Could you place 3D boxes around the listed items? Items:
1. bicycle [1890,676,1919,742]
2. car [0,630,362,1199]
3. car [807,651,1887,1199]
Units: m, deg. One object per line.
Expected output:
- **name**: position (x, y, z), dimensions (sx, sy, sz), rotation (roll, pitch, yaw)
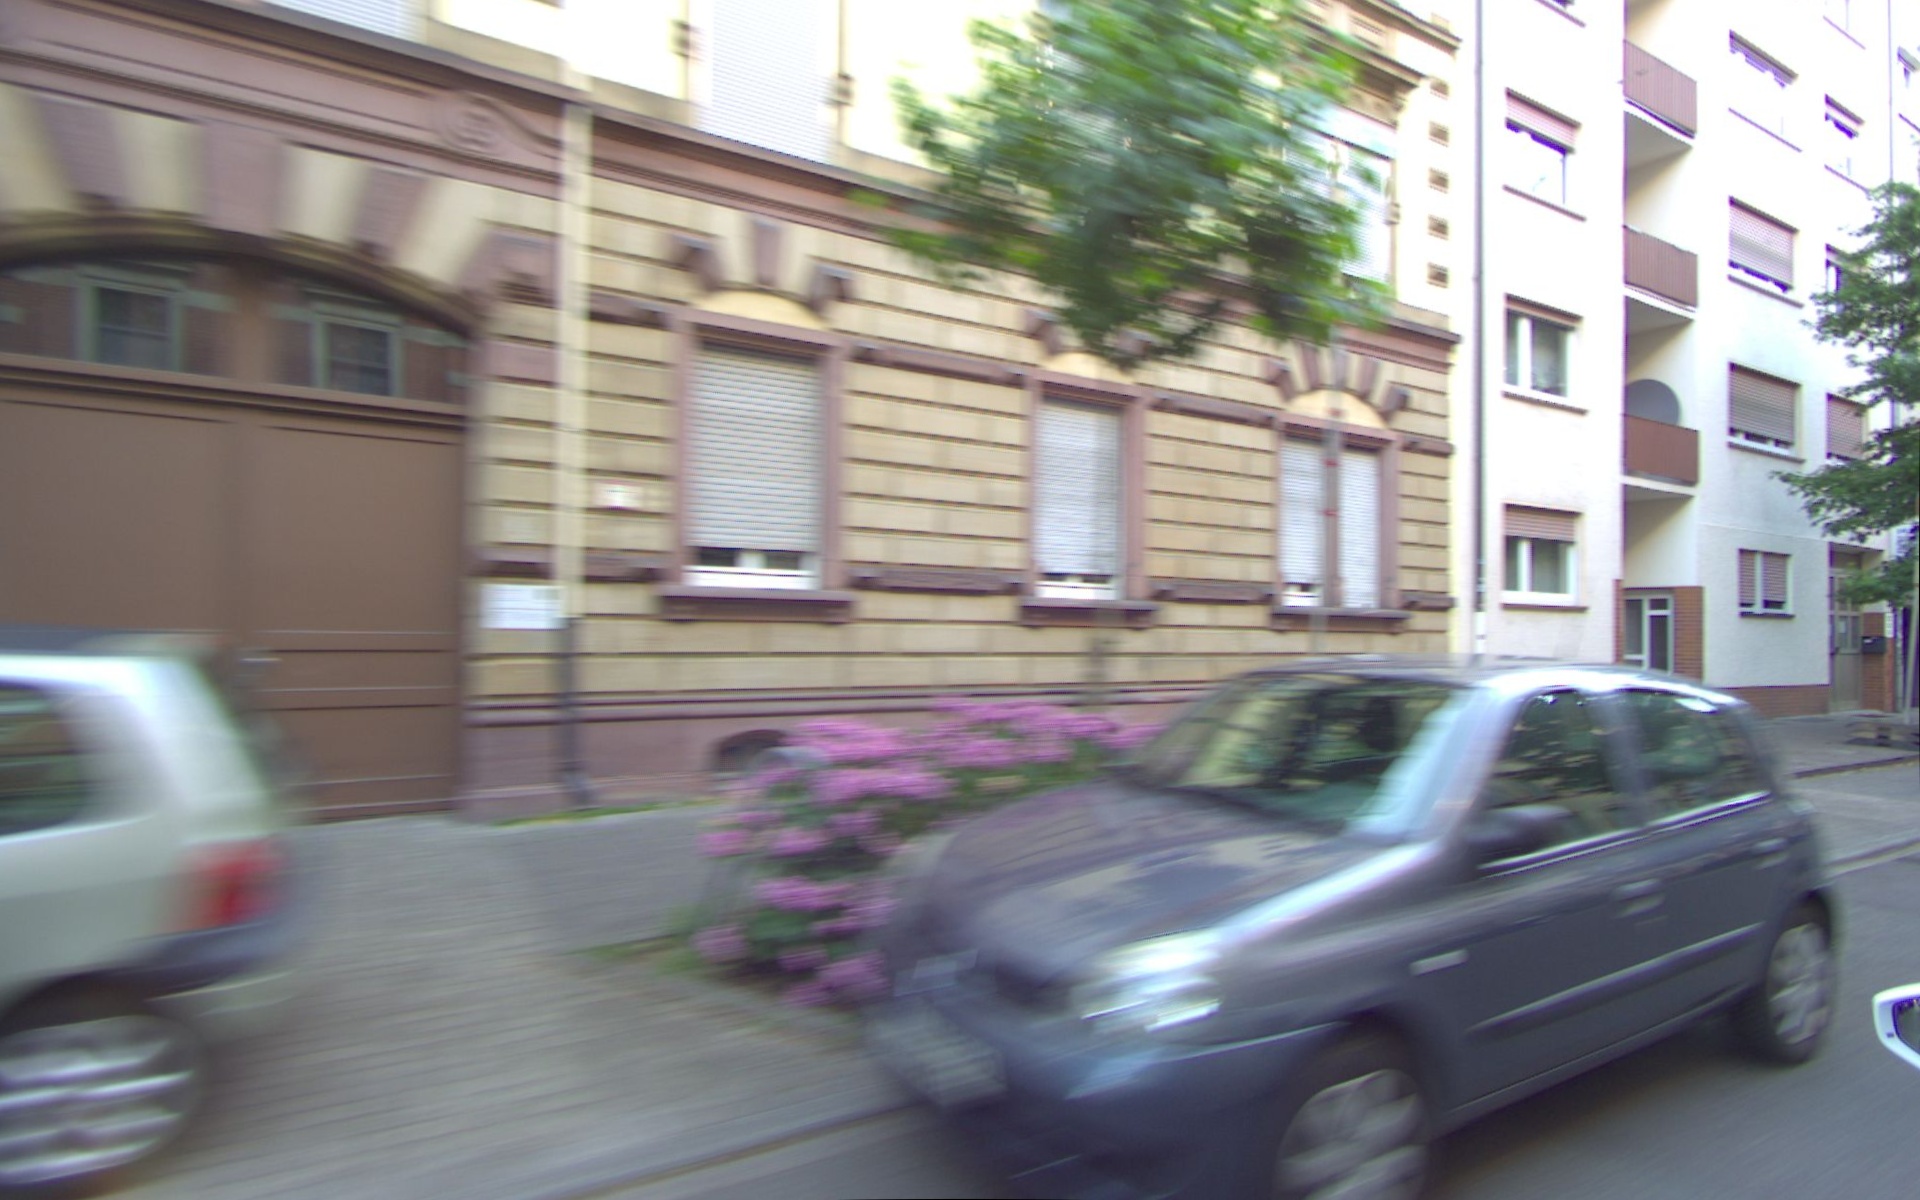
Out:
- **bicycle**: position (14.087, 1.544, 13.963), dimensions (1.636, 0.910, 0.383), rotation (0, -2, 31)
- **car**: position (-3.610, 0.816, 2.577), dimensions (3.525, 1.456, 1.579), rotation (2, -1, -31)
- **car**: position (1.494, 0.904, 3.509), dimensions (3.710, 1.438, 1.572), rotation (2, -3, -31)
